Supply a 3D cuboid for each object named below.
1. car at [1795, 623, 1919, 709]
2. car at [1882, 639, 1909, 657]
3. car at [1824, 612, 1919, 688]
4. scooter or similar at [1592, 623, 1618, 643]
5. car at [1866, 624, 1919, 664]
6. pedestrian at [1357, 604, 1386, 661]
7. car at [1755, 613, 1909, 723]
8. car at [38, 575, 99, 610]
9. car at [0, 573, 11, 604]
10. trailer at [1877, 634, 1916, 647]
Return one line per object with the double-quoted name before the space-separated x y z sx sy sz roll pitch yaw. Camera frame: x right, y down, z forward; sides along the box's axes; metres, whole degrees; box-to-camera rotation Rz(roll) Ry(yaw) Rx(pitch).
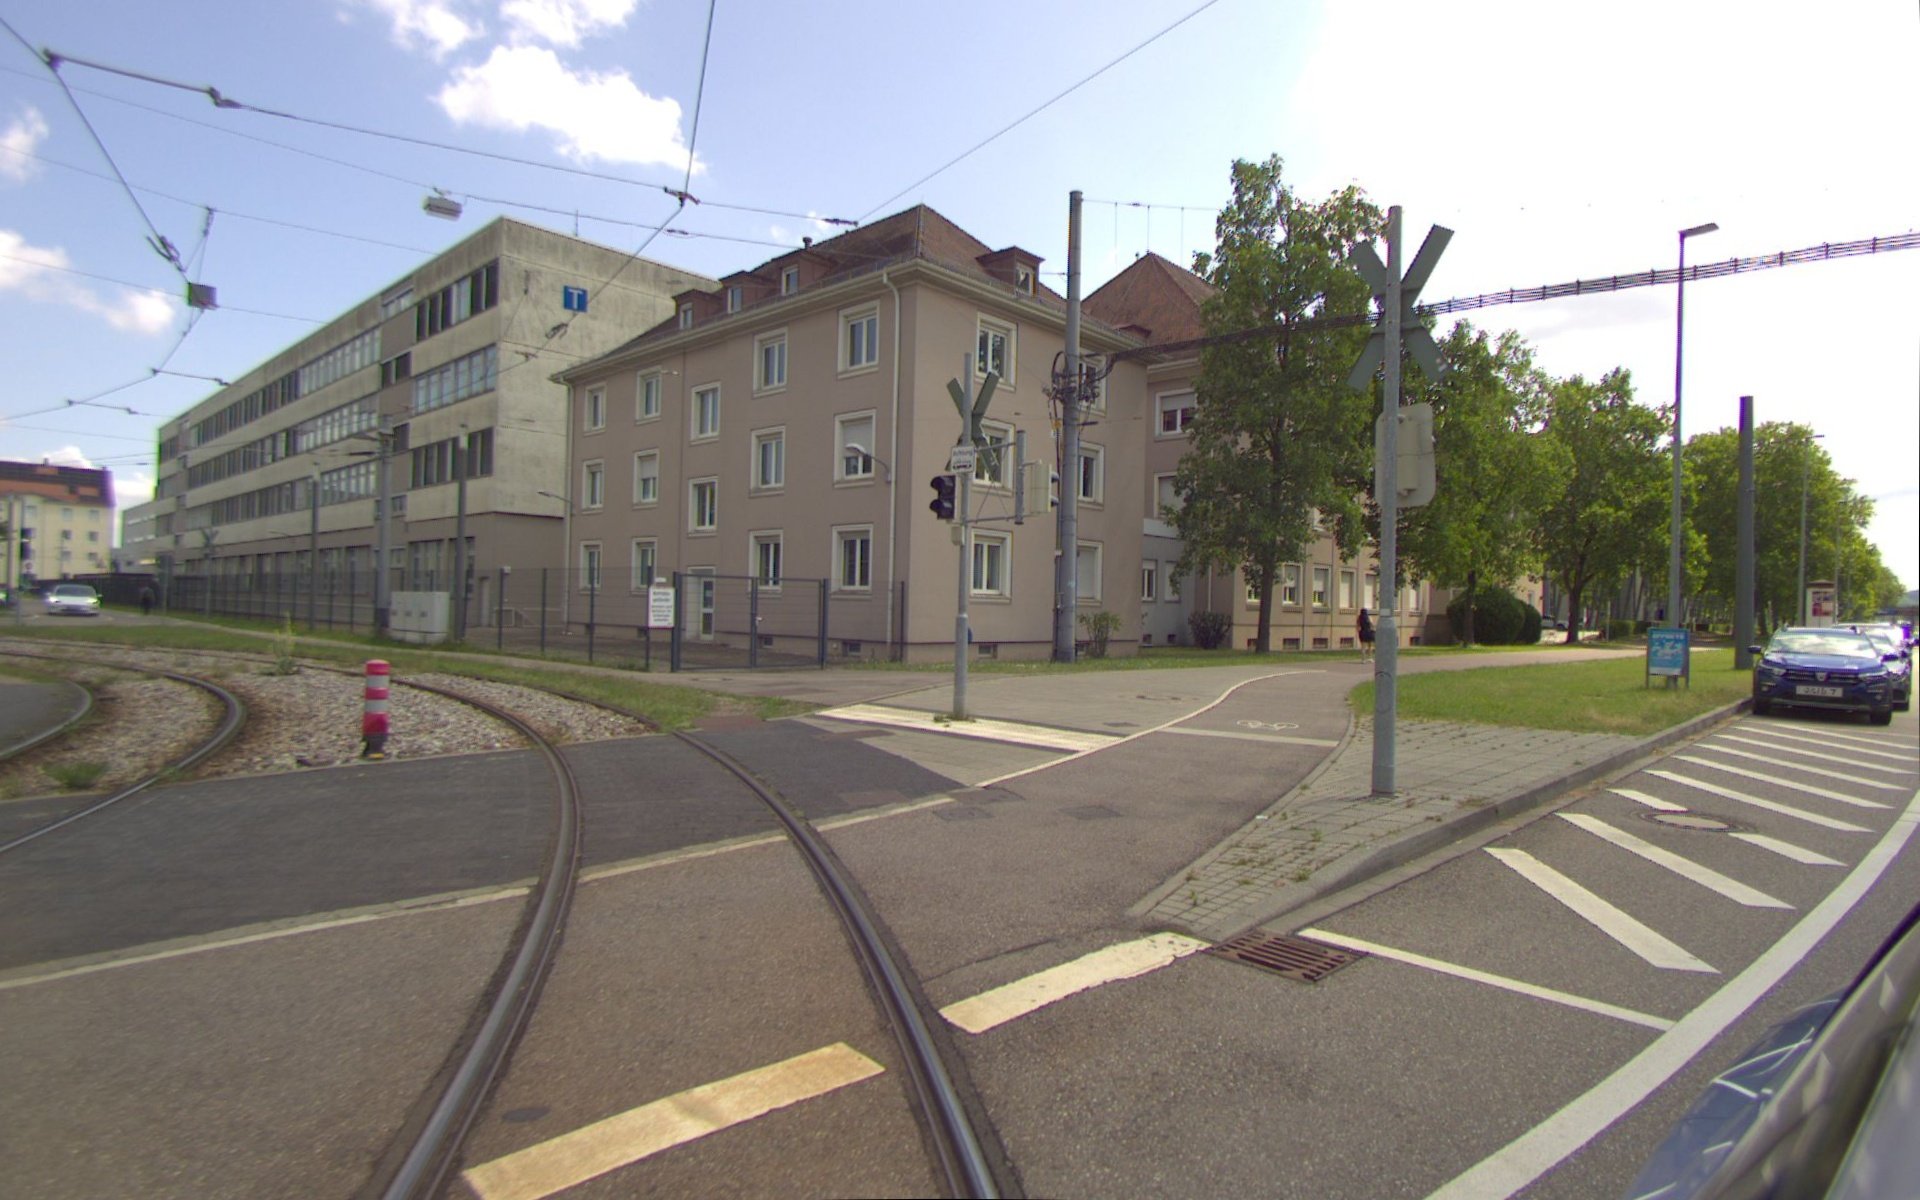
"car" 18.666 1.288 20.956 1.816 1.472 4.912 3 0 43
"car" 86.893 4.427 94.017 1.805 1.524 3.675 1 0 44
"car" 23.251 1.228 25.654 1.816 1.683 4.597 3 0 43
"scooter or similar" 45.123 2.326 70.846 0.536 1.320 1.445 1 0 -31
"car" 38.889 1.794 42.008 1.708 1.498 3.728 3 1 45
"pedestrian" 11.990 0.931 29.483 0.620 1.628 0.617 3 1 33
"car" 14.967 1.064 17.400 1.778 1.559 4.354 3 1 41
"car" -42.957 -0.362 48.737 4.017 1.587 1.780 0 -1 43
"car" -50.153 -0.608 50.572 3.965 1.587 1.803 1 -1 -45
"trailer" 79.575 3.381 85.971 2.298 0.838 6.712 3 2 44
